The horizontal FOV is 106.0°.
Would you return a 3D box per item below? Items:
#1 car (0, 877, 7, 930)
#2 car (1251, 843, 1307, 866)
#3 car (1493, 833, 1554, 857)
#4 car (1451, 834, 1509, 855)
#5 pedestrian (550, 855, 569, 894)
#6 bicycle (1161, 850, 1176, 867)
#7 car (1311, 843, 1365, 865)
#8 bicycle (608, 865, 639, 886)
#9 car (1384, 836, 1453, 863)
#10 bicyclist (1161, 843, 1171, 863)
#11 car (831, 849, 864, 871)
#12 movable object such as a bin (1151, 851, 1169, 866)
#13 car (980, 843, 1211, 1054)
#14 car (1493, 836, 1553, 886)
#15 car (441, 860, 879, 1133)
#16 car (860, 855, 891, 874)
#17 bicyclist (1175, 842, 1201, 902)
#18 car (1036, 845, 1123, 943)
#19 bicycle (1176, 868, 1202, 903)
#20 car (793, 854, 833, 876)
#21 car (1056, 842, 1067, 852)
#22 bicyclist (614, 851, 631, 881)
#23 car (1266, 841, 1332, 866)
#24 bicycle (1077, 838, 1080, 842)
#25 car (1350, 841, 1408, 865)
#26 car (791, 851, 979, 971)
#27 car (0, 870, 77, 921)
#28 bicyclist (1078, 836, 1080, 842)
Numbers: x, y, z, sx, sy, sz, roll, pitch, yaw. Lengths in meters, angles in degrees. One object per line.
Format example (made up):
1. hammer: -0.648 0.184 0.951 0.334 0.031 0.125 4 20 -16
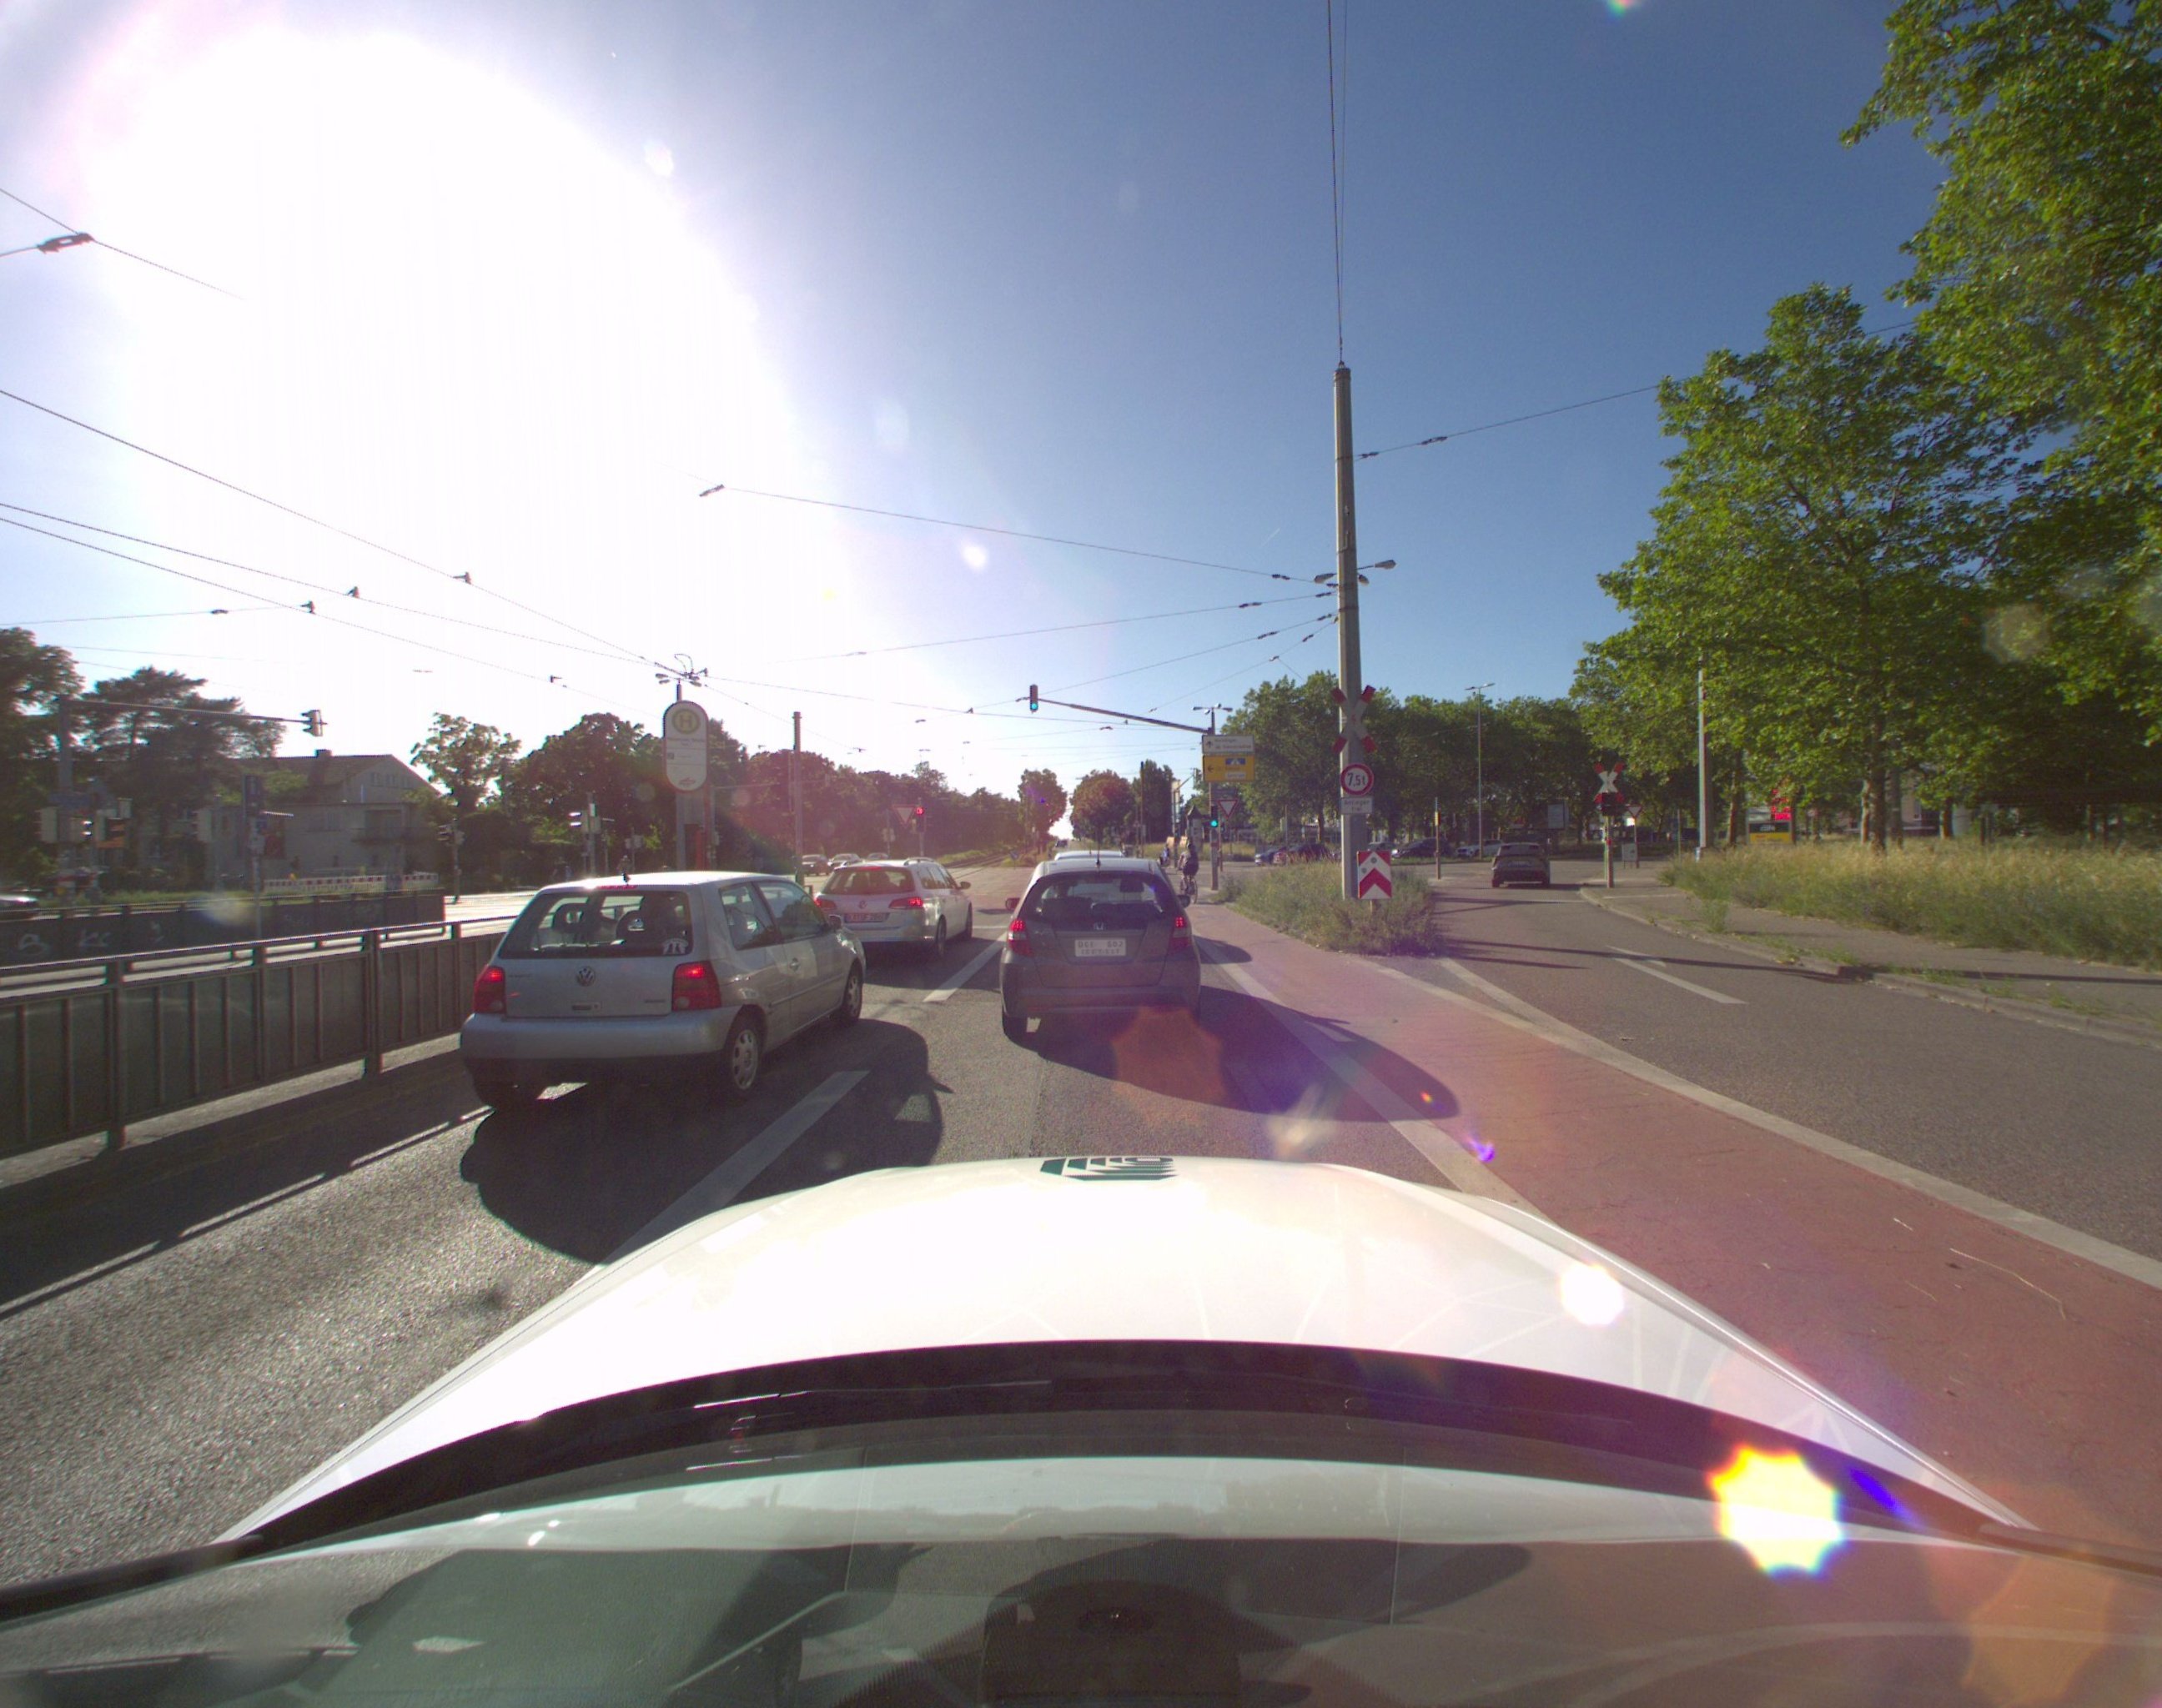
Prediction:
1. car: -32.233 1.447 21.335 4.646 1.477 1.658 -2 0 -27
2. car: 14.594 0.019 60.028 3.869 1.600 1.698 -2 0 -27
3. car: 40.862 -0.853 75.257 5.120 2.070 2.116 -1 0 -20
4. car: 33.325 -0.768 67.994 4.785 1.682 1.892 0 -1 -26
5. pedestrian: -26.129 1.018 40.784 0.615 1.948 0.767 -2 1 -43
6. bicycle: 5.938 0.286 55.166 0.467 1.119 1.812 -1 0 -12
7. car: 19.715 0.000 62.368 3.869 1.600 1.698 -2 0 -27
8. bicycle: -24.893 1.164 44.361 0.505 1.042 1.949 -2 0 1
9. car: 23.058 -0.323 55.607 4.504 1.711 1.904 -2 0 -27
10. bicyclist: 5.837 -0.089 55.780 0.510 1.340 0.562 -2 0 -14
11. car: -18.666 0.479 65.334 1.788 1.687 3.994 -2 0 -5
12. movable object such as a bin: 5.576 0.302 57.391 0.909 1.068 1.311 -1 0 -12
13. car: 0.162 0.688 7.854 1.664 1.515 3.675 -2 0 2
14. car: 16.111 0.212 29.625 1.803 1.704 3.797 0 1 30
15. car: -2.806 0.821 6.320 1.576 1.468 3.414 -1 0 0
16. car: -18.472 0.941 73.404 1.809 1.596 4.688 -1 0 -3
17. bicyclist: 3.085 0.517 23.541 0.613 1.679 0.934 -2 0 2
18. car: -0.012 0.634 14.587 1.347 1.527 3.123 -2 0 0
19. bicycle: 3.116 0.888 23.554 0.522 0.923 2.090 -2 0 2
20. car: -18.760 0.727 57.119 1.679 1.458 3.701 -2 0 -2
21. car: -3.858 -1.368 158.256 1.987 2.014 4.000 0 -1 0
22. bicyclist: -24.912 0.645 44.280 0.487 1.608 0.648 -2 0 1
23. car: 14.955 -0.034 55.793 4.095 1.600 1.802 -2 0 -23
24. bicycle: -0.596 -3.955 236.153 0.815 1.048 2.506 0 -1 1
25. car: 21.592 -0.047 58.984 3.864 1.600 1.700 -2 0 -23
26. car: -2.892 0.753 13.062 1.871 1.527 4.421 -2 0 0
27. car: -33.841 1.296 24.401 4.258 1.466 1.921 -1 0 -27
28. bicyclist: -0.589 -4.318 236.175 0.815 1.524 0.966 0 -1 0
